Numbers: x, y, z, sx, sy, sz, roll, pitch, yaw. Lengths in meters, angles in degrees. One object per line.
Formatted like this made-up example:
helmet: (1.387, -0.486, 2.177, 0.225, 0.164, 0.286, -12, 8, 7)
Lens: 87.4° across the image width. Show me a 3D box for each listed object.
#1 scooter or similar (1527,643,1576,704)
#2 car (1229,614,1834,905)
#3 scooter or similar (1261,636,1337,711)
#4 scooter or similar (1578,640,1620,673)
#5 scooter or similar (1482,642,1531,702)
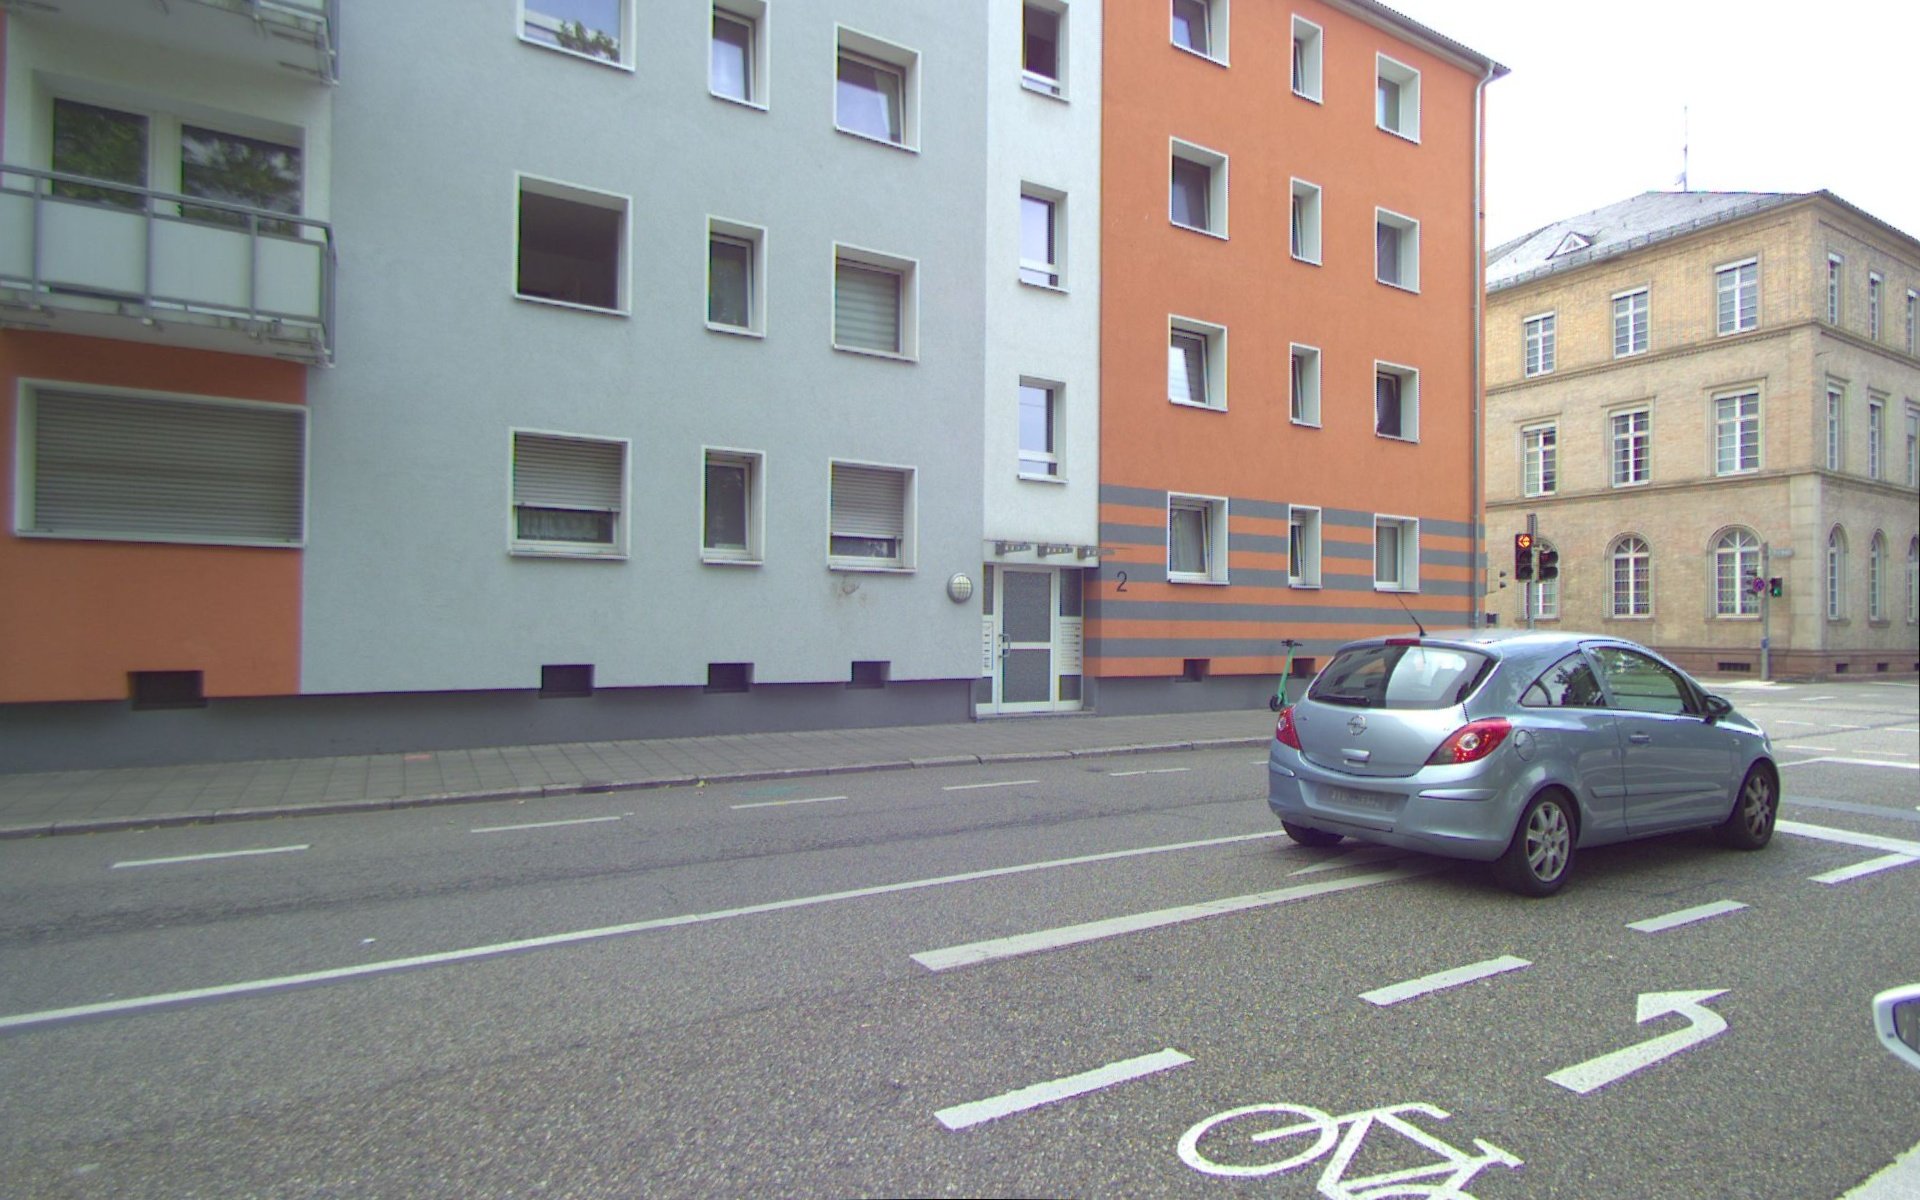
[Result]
scooter or similar: (11.621, 1.442, 19.731, 1.130, 1.159, 0.376, 3, -2, -34)
car: (3.972, 0.863, 6.815, 4.204, 1.439, 1.704, 1, -3, -31)
scooter or similar: (5.655, 1.223, 16.727, 1.373, 1.199, 0.376, 3, -2, -30)
scooter or similar: (21.012, 1.855, 33.042, 0.375, 1.063, 1.133, 3, -2, -29)
scooter or similar: (10.874, 1.426, 19.975, 1.130, 1.162, 0.376, 3, -2, -34)
